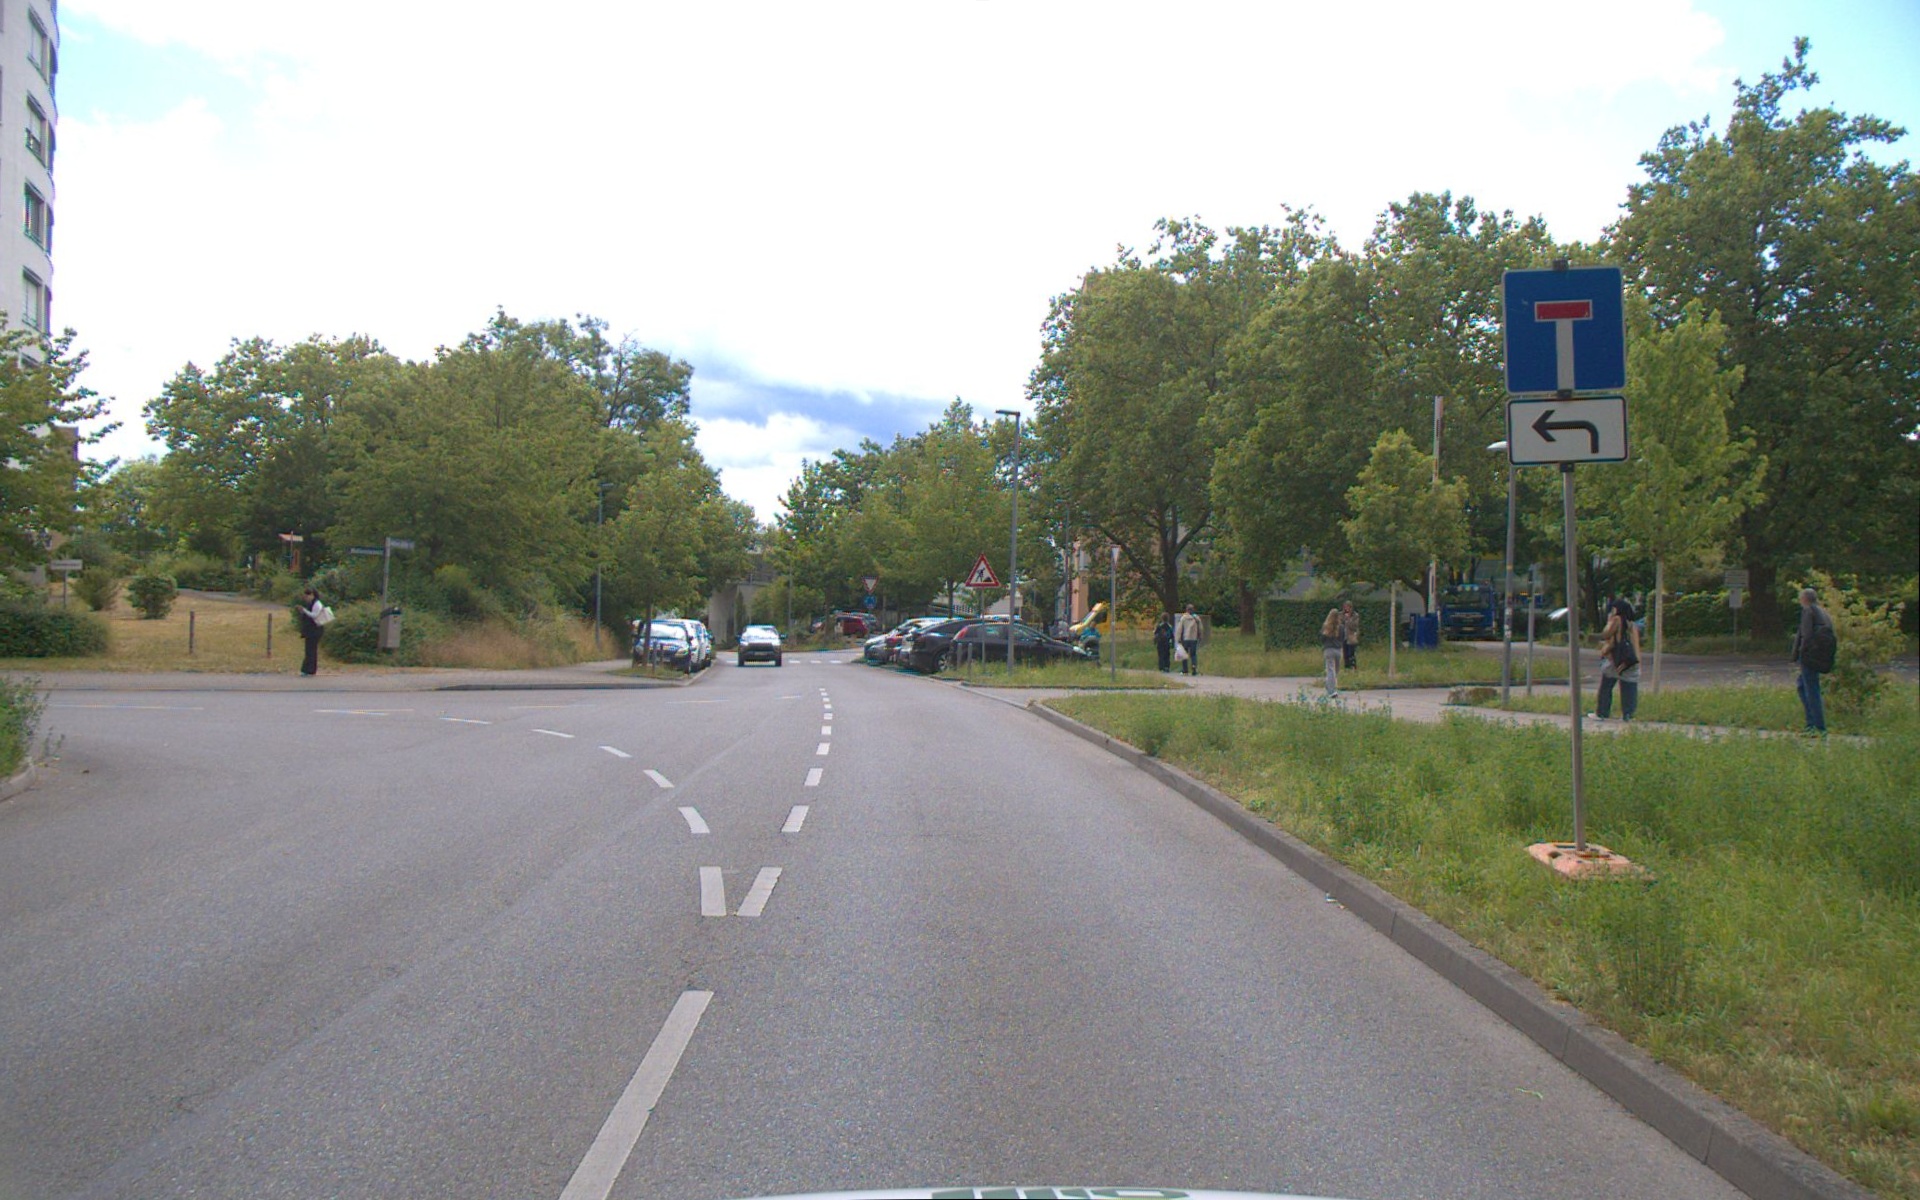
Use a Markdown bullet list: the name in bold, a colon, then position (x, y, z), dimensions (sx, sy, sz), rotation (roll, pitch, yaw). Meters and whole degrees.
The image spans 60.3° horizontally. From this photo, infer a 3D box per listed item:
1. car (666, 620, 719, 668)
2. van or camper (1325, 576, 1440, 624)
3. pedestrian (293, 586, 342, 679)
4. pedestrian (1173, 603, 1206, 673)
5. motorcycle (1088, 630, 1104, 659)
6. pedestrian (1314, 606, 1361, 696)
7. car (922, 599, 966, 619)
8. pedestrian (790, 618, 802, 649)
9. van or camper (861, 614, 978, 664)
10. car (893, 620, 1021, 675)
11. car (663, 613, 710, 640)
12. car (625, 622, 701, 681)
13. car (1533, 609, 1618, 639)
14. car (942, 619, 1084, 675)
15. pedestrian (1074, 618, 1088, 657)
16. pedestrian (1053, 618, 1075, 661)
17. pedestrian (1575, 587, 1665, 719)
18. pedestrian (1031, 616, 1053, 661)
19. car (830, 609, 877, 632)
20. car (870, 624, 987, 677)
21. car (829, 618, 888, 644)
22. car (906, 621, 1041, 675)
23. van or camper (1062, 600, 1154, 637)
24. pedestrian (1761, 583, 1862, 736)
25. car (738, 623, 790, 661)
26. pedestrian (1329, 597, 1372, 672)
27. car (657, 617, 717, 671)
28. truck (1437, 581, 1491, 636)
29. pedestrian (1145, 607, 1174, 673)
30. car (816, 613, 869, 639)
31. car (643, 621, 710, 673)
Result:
- **car**: position (-10.278, 1.665, 63.754), dimensions (1.704, 1.741, 4.078), rotation (0, 0, -5)
- **van or camper**: position (18.406, -0.026, 72.071), dimensions (4.583, 1.947, 1.769), rotation (1, 2, 28)
- **pedestrian**: position (-12.334, 0.611, 31.745), dimensions (0.810, 1.752, 0.770), rotation (0, 1, -26)
- **pedestrian**: position (5.959, 0.976, 42.965), dimensions (0.784, 1.752, 0.824), rotation (1, 1, 7)
- **motorcycle**: position (4.121, 1.348, 50.136), dimensions (0.443, 0.808, 1.264), rotation (1, 2, 6)
- **pedestrian**: position (7.073, 0.941, 31.003), dimensions (0.758, 1.624, 0.824), rotation (1, 1, 6)
- **car**: position (-1.388, 0.801, 143.498), dimensions (3.489, 1.683, 1.611), rotation (2, 0, -22)
- **pedestrian**: position (-10.217, 2.064, 103.045), dimensions (0.708, 1.897, 0.649), rotation (0, 1, -13)
- **van or camper**: position (-1.655, 1.566, 67.294), dimensions (4.586, 1.902, 1.768), rotation (0, 1, -10)
- **car**: position (-0.098, 1.471, 50.735), dimensions (3.842, 1.659, 1.771), rotation (0, -3, -2)
- **car**: position (-14.201, 1.372, 85.843), dimensions (1.193, 1.360, 2.566), rotation (2, 0, -42)
- **car**: position (-8.459, 1.439, 47.370), dimensions (1.731, 1.526, 3.931), rotation (0, 1, -5)
- **car**: position (32.733, 1.266, 87.993), dimensions (3.842, 1.526, 1.771), rotation (0, 1, -2)
- **car**: position (1.436, 1.315, 45.818), dimensions (3.842, 1.494, 1.771), rotation (0, -3, -2)
- **pedestrian**: position (3.683, 1.136, 50.486), dimensions (0.387, 1.172, 0.485), rotation (1, 1, 7)
- **pedestrian**: position (3.586, 1.343, 57.053), dimensions (0.676, 1.449, 0.753), rotation (1, -1, -2)
- **pedestrian**: position (9.056, 0.706, 22.713), dimensions (0.762, 1.752, 0.819), rotation (1, 1, -19)
- **pedestrian**: position (2.829, 1.319, 57.029), dimensions (0.676, 1.530, 0.753), rotation (1, -1, -2)
- **car**: position (-8.252, 1.557, 128.546), dimensions (3.467, 1.683, 1.621), rotation (1, 0, 1)
- **car**: position (-1.061, 1.685, 55.386), dimensions (3.842, 1.658, 1.771), rotation (0, 1, -2)
- **car**: position (-6.585, 2.024, 107.034), dimensions (3.489, 1.591, 1.611), rotation (2, -1, -22)
- **car**: position (0.360, 1.411, 48.021), dimensions (3.842, 1.527, 1.771), rotation (0, -3, -2)
- **van or camper**: position (8.815, 1.108, 98.638), dimensions (5.190, 2.077, 2.058), rotation (0, 1, -6)
- **pedestrian**: position (10.149, 0.692, 19.740), dimensions (0.758, 1.752, 0.823), rotation (1, 1, 3)
- **car**: position (-8.031, 1.692, 67.974), dimensions (1.936, 1.489, 3.931), rotation (0, 0, -5)
- **pedestrian**: position (9.209, 0.799, 39.022), dimensions (0.760, 1.724, 0.821), rotation (2, 1, 30)
- **car**: position (-9.522, 1.524, 57.979), dimensions (1.731, 1.783, 3.931), rotation (0, 0, -5)
- **truck**: position (23.459, 0.345, 77.009), dimensions (2.277, 2.335, 5.899), rotation (2, 1, 17)
- **pedestrian**: position (5.455, 1.091, 45.245), dimensions (0.758, 1.752, 0.824), rotation (1, 1, 7)
- **car**: position (-8.081, 1.806, 113.593), dimensions (3.475, 1.683, 1.618), rotation (1, 0, -9)
- **car**: position (-8.927, 1.458, 52.391), dimensions (1.731, 1.527, 3.931), rotation (0, 0, -5)
